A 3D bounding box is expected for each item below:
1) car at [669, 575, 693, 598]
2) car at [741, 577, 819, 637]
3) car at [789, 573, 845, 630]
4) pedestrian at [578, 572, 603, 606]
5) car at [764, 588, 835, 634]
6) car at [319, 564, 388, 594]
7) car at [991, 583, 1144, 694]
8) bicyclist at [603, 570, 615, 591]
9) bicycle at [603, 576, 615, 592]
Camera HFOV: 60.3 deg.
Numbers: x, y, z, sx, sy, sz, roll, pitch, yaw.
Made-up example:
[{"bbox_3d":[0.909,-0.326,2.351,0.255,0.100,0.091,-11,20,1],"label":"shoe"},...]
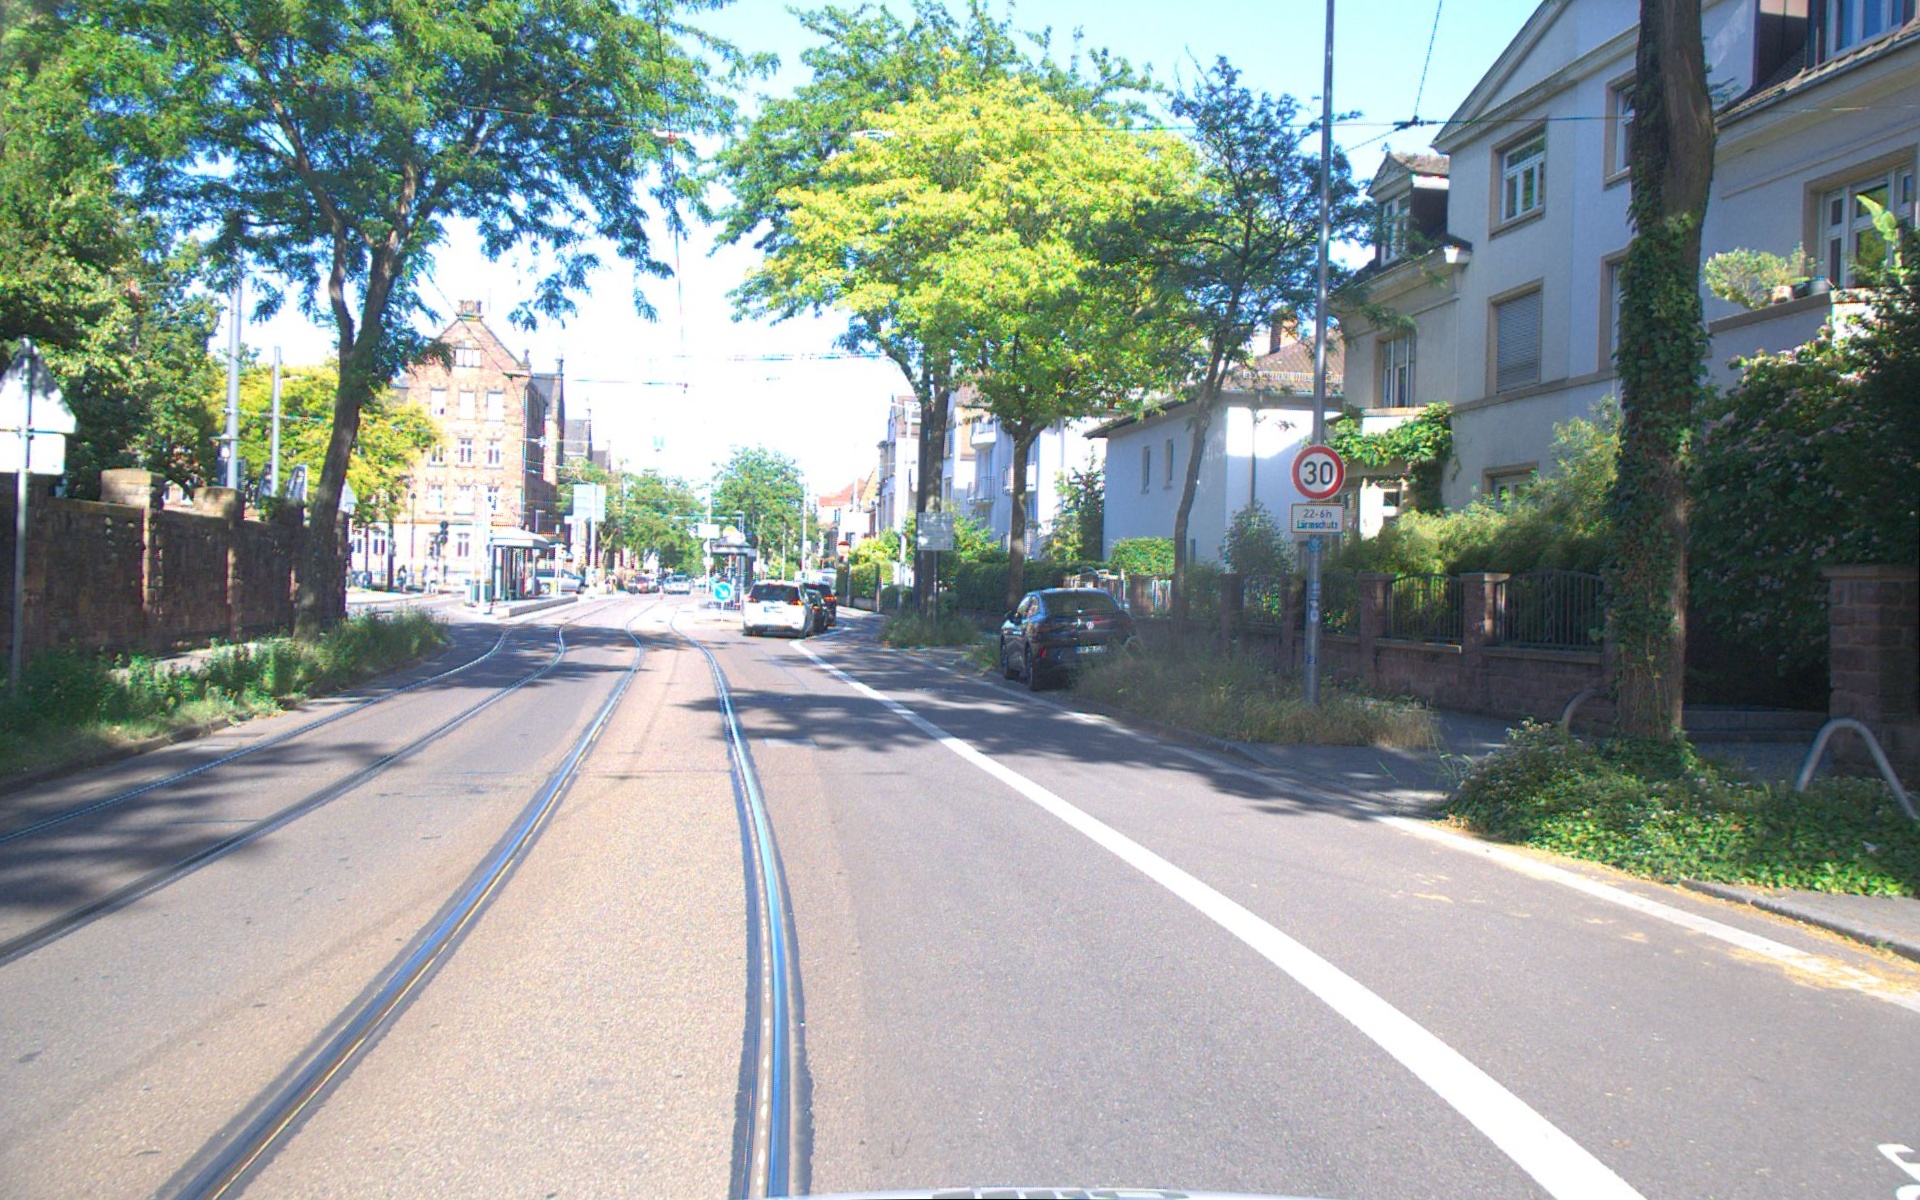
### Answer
[{"bbox_3d":[-24.865,-1.194,147.374,1.956,1.947,3.993,2,0,-8],"label":"car"},{"bbox_3d":[-5.306,0.253,49.296,1.854,1.639,4.227,2,-2,-1],"label":"car"},{"bbox_3d":[-5.359,0.059,62.448,1.673,2.049,3.907,1,0,1],"label":"car"},{"bbox_3d":[-22.639,-0.680,101.456,1.131,2.049,1.120,1,0,11],"label":"pedestrian"},{"bbox_3d":[-5.411,0.359,56.267,1.952,1.467,4.000,1,0,1],"label":"car"},{"bbox_3d":[-39.659,-1.341,108.259,3.918,1.821,1.993,2,0,-13],"label":"car"},{"bbox_3d":[1.782,0.595,29.020,1.770,1.723,4.721,-2,1,-7],"label":"car"},{"bbox_3d":[-30.176,-1.699,142.360,0.926,1.764,0.859,2,0,-9],"label":"bicyclist"},{"bbox_3d":[-30.153,-1.364,142.074,0.806,1.319,2.671,2,0,-10],"label":"bicycle"}]
